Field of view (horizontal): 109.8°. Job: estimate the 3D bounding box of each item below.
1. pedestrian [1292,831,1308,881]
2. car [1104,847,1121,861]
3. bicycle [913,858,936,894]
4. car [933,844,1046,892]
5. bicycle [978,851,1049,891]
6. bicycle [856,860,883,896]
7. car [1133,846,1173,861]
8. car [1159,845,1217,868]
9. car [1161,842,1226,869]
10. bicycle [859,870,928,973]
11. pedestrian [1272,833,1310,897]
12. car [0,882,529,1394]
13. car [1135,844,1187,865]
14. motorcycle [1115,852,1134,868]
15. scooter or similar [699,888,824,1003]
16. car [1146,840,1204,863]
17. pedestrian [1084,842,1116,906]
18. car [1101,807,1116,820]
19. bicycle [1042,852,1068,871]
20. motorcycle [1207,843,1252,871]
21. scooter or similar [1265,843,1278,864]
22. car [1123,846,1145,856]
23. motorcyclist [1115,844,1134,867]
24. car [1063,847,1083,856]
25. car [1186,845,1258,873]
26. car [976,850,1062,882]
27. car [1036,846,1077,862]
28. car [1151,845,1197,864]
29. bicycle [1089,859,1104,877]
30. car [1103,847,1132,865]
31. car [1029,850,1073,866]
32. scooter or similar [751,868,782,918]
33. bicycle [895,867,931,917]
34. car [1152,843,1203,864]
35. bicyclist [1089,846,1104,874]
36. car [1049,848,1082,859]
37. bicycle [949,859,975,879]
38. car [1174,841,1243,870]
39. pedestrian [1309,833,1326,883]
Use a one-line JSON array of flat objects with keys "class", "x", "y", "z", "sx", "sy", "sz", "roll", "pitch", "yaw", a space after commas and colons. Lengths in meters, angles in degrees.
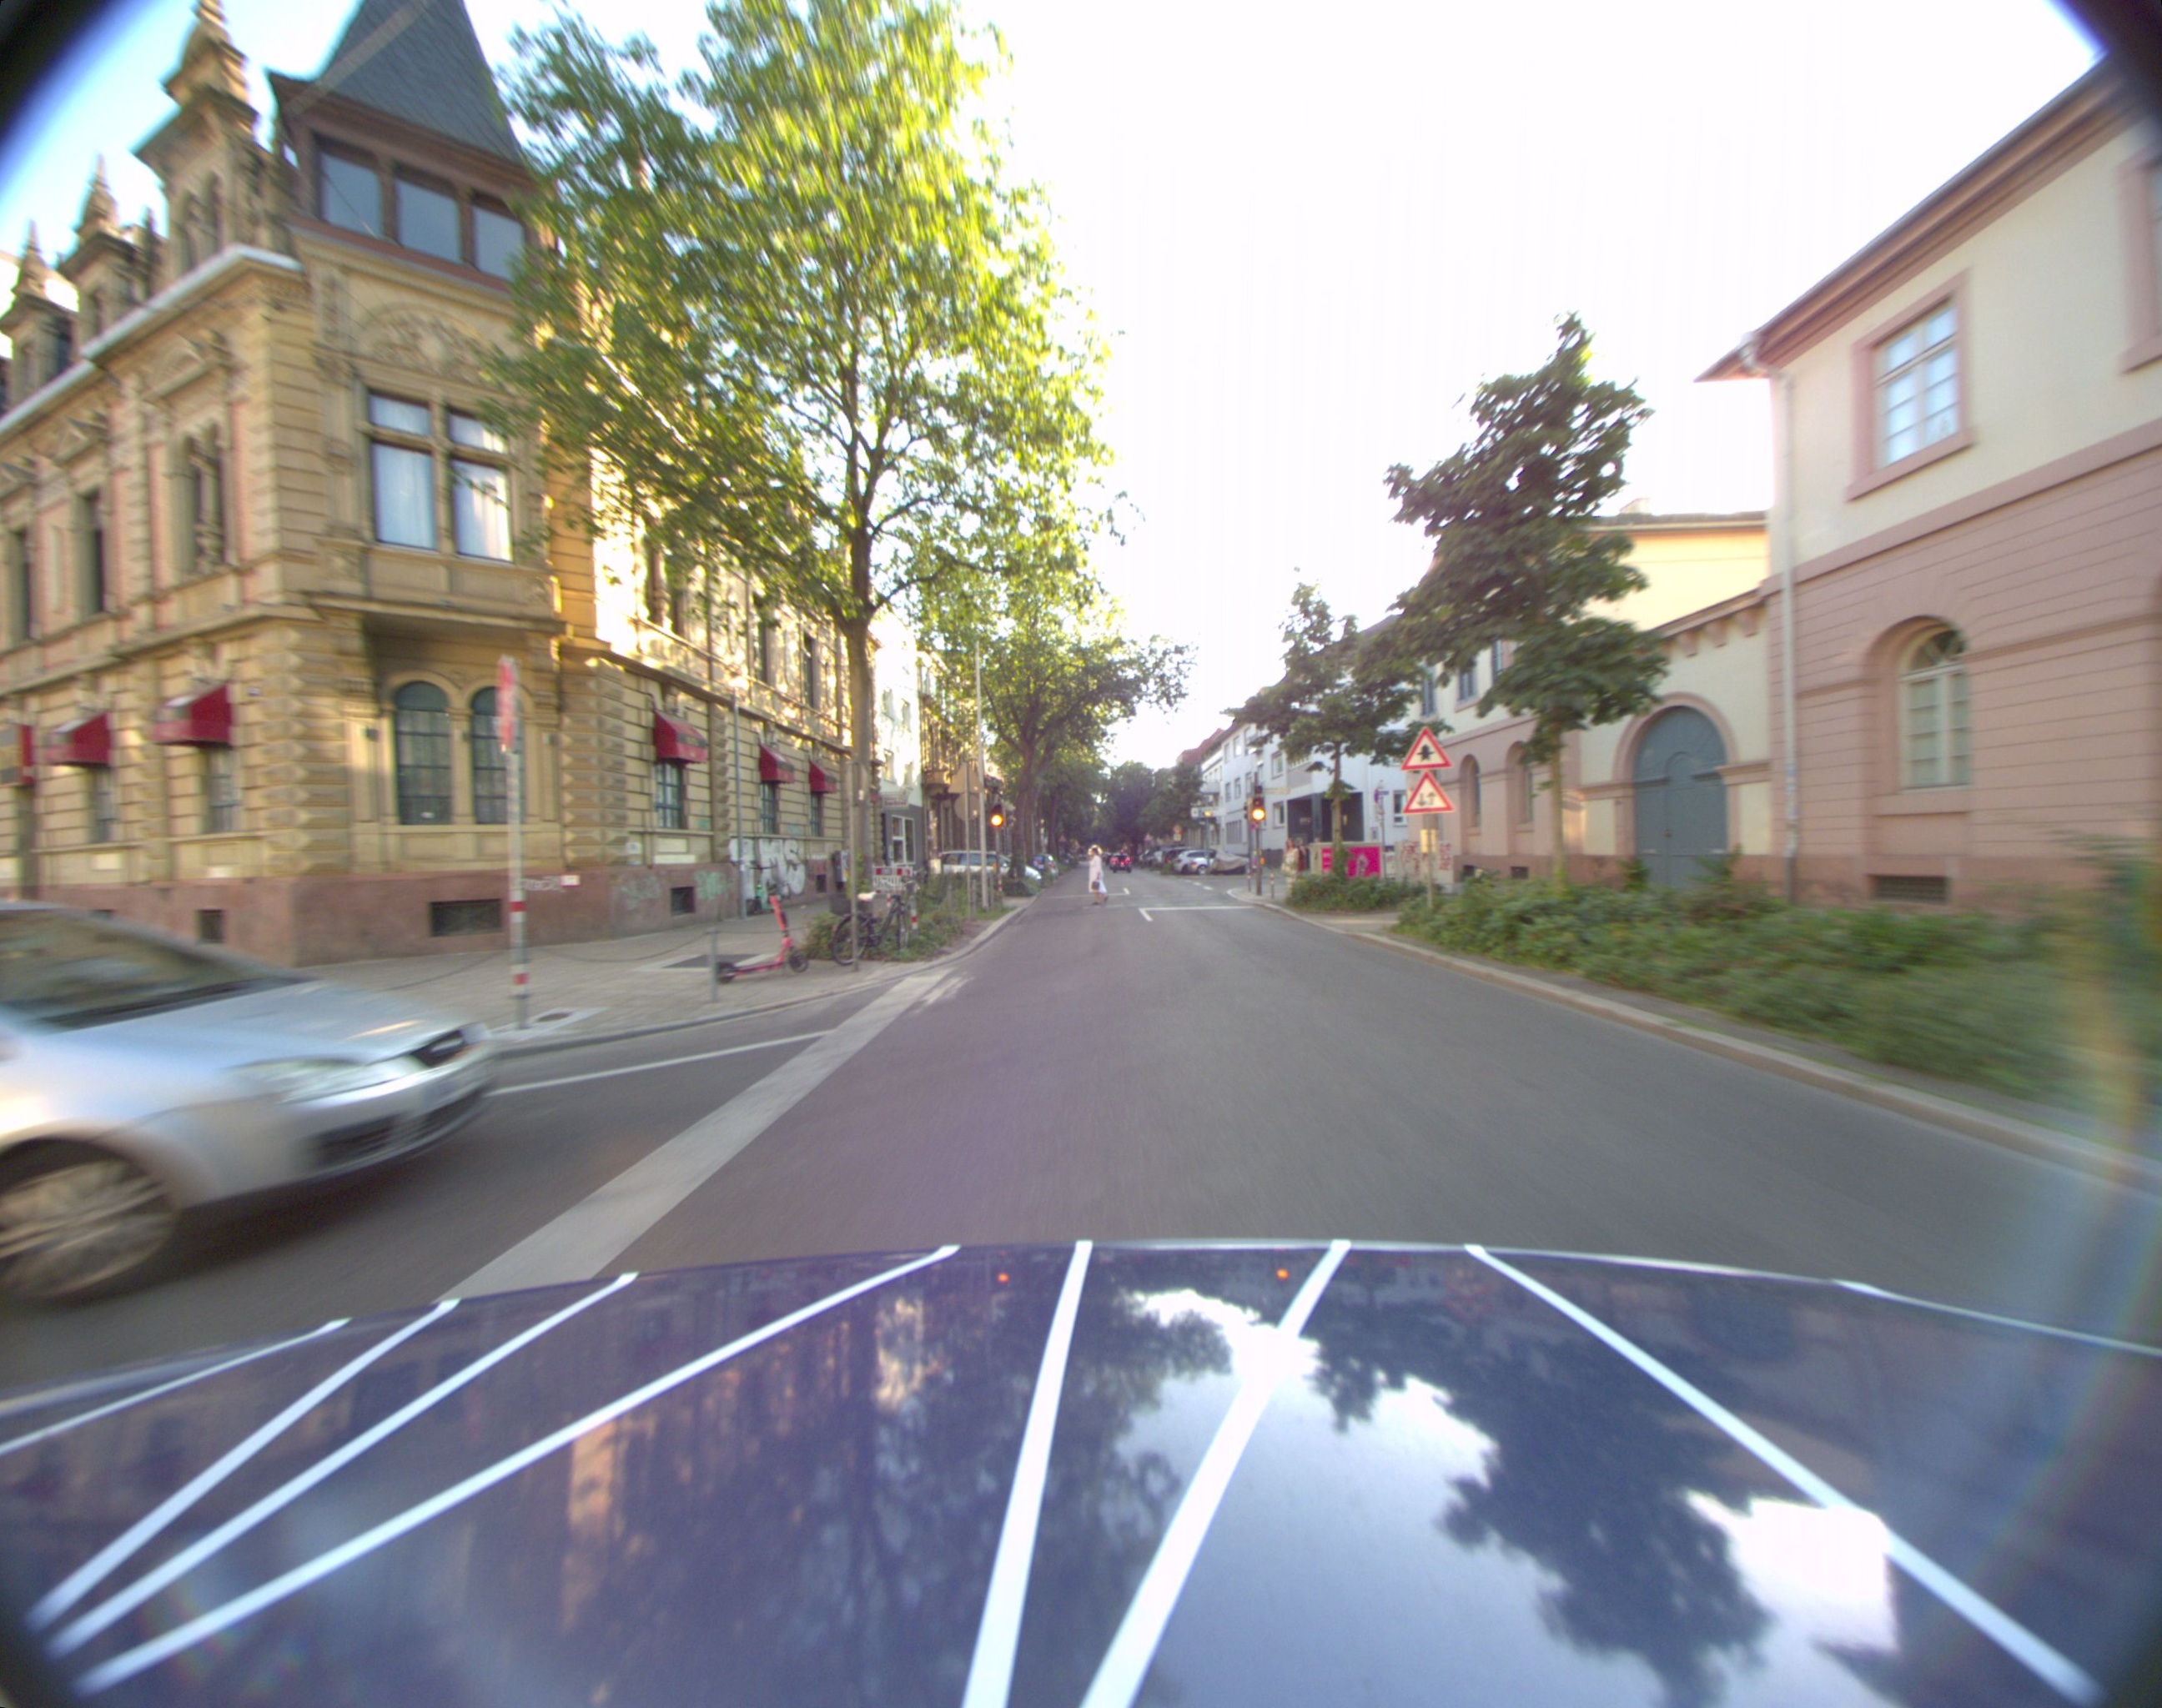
[{"class": "pedestrian", "x": 8.303, "y": 0.079, "z": 28.798, "sx": 0.555, "sy": 1.840, "sz": 0.612, "roll": -1, "pitch": 1, "yaw": 15}, {"class": "car", "x": 3.818, "y": -0.030, "z": 91.742, "sx": 1.881, "sy": 1.540, "sz": 4.275, "roll": 2, "pitch": 1, "yaw": 1}, {"class": "bicycle", "x": -5.680, "y": 0.776, "z": 27.666, "sx": 0.386, "sy": 1.228, "sz": 1.725, "roll": -1, "pitch": 1, "yaw": 3}, {"class": "car", "x": -3.805, "y": 0.562, "z": 32.234, "sx": 4.552, "sy": 1.904, "sz": 1.950, "roll": -1, "pitch": 1, "yaw": -1}, {"class": "bicycle", "x": -3.064, "y": 0.758, "z": 34.770, "sx": 3.122, "sy": 1.654, "sz": 0.658, "roll": -3, "pitch": 1, "yaw": -3}, {"class": "bicycle", "x": -7.619, "y": 0.851, "z": 27.468, "sx": 0.386, "sy": 1.204, "sz": 1.725, "roll": -1, "pitch": 1, "yaw": 3}, {"class": "car", "x": 8.547, "y": -0.079, "z": 90.410, "sx": 4.436, "sy": 1.399, "sz": 1.717, "roll": -4, "pitch": 2, "yaw": -3}, {"class": "car", "x": 8.025, "y": 0.179, "z": 57.250, "sx": 4.085, "sy": 1.432, "sz": 1.755, "roll": -4, "pitch": 1, "yaw": 2}, {"class": "car", "x": 7.641, "y": 0.070, "z": 51.802, "sx": 4.103, "sy": 1.622, "sz": 1.936, "roll": -3, "pitch": 1, "yaw": 2}, {"class": "bicycle", "x": -2.705, "y": 0.934, "z": 11.046, "sx": 0.417, "sy": 1.364, "sz": 1.289, "roll": -1, "pitch": 1, "yaw": 12}, {"class": "pedestrian", "x": 6.159, "y": 0.312, "z": 22.297, "sx": 0.791, "sy": 1.780, "sz": 0.772, "roll": -5, "pitch": 0, "yaw": 28}, {"class": "car", "x": -5.213, "y": 1.065, "z": 3.094, "sx": 4.355, "sy": 1.644, "sz": 1.883, "roll": -2, "pitch": 1, "yaw": -17}, {"class": "car", "x": 8.252, "y": 0.075, "z": 78.613, "sx": 5.003, "sy": 1.979, "sz": 2.189, "roll": -2, "pitch": 0, "yaw": -1}, {"class": "motorcycle", "x": 3.136, "y": 0.428, "z": 55.255, "sx": 1.315, "sy": 1.084, "sz": 2.396, "roll": 0, "pitch": 1, "yaw": 1}, {"class": "scooter or similar", "x": -3.905, "y": 1.078, "z": 9.339, "sx": 1.277, "sy": 1.236, "sz": 0.505, "roll": -3, "pitch": 1, "yaw": -42}, {"class": "car", "x": 8.018, "y": -0.222, "z": 65.372, "sx": 4.677, "sy": 1.755, "sz": 2.156, "roll": -3, "pitch": 1, "yaw": 0}, {"class": "pedestrian", "x": 0.567, "y": 0.596, "z": 22.958, "sx": 0.771, "sy": 1.877, "sz": 0.792, "roll": -2, "pitch": 1, "yaw": -11}, {"class": "car", "x": 3.986, "y": -5.827, "z": 110.424, "sx": 1.882, "sy": 1.631, "sz": 4.645, "roll": -1, "pitch": 0, "yaw": 0}, {"class": "bicycle", "x": -2.095, "y": 0.588, "z": 61.057, "sx": 2.051, "sy": 1.353, "sz": 0.508, "roll": -3, "pitch": 1, "yaw": -1}, {"class": "motorcycle", "x": 7.771, "y": 0.169, "z": 39.692, "sx": 2.150, "sy": 1.411, "sz": 0.969, "roll": -1, "pitch": 1, "yaw": 22}, {"class": "scooter or similar", "x": 11.699, "y": -0.023, "z": 46.666, "sx": 0.516, "sy": 1.254, "sz": 1.420, "roll": -3, "pitch": 1, "yaw": 5}, {"class": "car", "x": 9.042, "y": -0.553, "z": 129.360, "sx": 3.497, "sy": 1.397, "sz": 1.673, "roll": -4, "pitch": 0, "yaw": -1}, {"class": "motorcyclist", "x": 3.128, "y": 0.114, "z": 55.249, "sx": 1.283, "sy": 1.583, "sz": 1.077, "roll": -2, "pitch": 1, "yaw": 1}, {"class": "car", "x": -1.429, "y": -0.468, "z": 136.506, "sx": 3.552, "sy": 1.411, "sz": 1.590, "roll": -4, "pitch": 0, "yaw": -1}, {"class": "car", "x": 7.870, "y": 0.240, "z": 42.588, "sx": 3.748, "sy": 1.303, "sz": 1.845, "roll": -4, "pitch": 1, "yaw": 5}, {"class": "car", "x": -3.197, "y": 0.612, "z": 39.838, "sx": 4.234, "sy": 1.551, "sz": 1.971, "roll": -1, "pitch": 0, "yaw": 4}, {"class": "car", "x": -2.756, "y": -0.020, "z": 85.161, "sx": 4.451, "sy": 1.708, "sz": 1.968, "roll": 0, "pitch": 1, "yaw": 1}, {"class": "car", "x": 8.313, "y": 0.074, "z": 68.009, "sx": 3.855, "sy": 1.442, "sz": 1.855, "roll": -3, "pitch": 0, "yaw": 1}, {"class": "bicycle", "x": 0.918, "y": 0.781, "z": 44.375, "sx": 0.778, "sy": 0.967, "sz": 2.025, "roll": -2, "pitch": 1, "yaw": 4}, {"class": "car", "x": 3.276, "y": 0.174, "z": 68.097, "sx": 1.883, "sy": 1.540, "sz": 4.272, "roll": -1, "pitch": 1, "yaw": -7}, {"class": "car", "x": -2.969, "y": 0.395, "z": 76.110, "sx": 4.234, "sy": 1.472, "sz": 1.854, "roll": 1, "pitch": 1, "yaw": 1}, {"class": "scooter or similar", "x": -7.778, "y": 0.941, "z": 18.816, "sx": 0.251, "sy": 1.187, "sz": 1.092, "roll": -2, "pitch": 0, "yaw": 2}, {"class": "bicycle", "x": -4.327, "y": 0.948, "z": 19.719, "sx": 0.525, "sy": 1.145, "sz": 2.248, "roll": -2, "pitch": 1, "yaw": -3}, {"class": "car", "x": 7.991, "y": -0.025, "z": 62.967, "sx": 4.038, "sy": 1.485, "sz": 1.781, "roll": -4, "pitch": 1, "yaw": 4}, {"class": "bicyclist", "x": 0.903, "y": 0.344, "z": 44.344, "sx": 0.753, "sy": 1.612, "sz": 1.147, "roll": -2, "pitch": 1, "yaw": 4}, {"class": "car", "x": -2.237, "y": -0.058, "z": 109.259, "sx": 4.420, "sy": 1.552, "sz": 1.867, "roll": 1, "pitch": 0, "yaw": 8}, {"class": "bicycle", "x": -4.649, "y": 0.567, "z": 29.789, "sx": 0.582, "sy": 0.661, "sz": 2.329, "roll": -3, "pitch": 1, "yaw": 1}, {"class": "car", "x": 7.580, "y": 0.080, "z": 45.339, "sx": 3.751, "sy": 1.450, "sz": 1.735, "roll": -4, "pitch": 1, "yaw": 0}, {"class": "pedestrian", "x": 8.910, "y": 0.142, "z": 28.650, "sx": 0.555, "sy": 1.840, "sz": 0.612, "roll": -2, "pitch": 1, "yaw": 14}]
